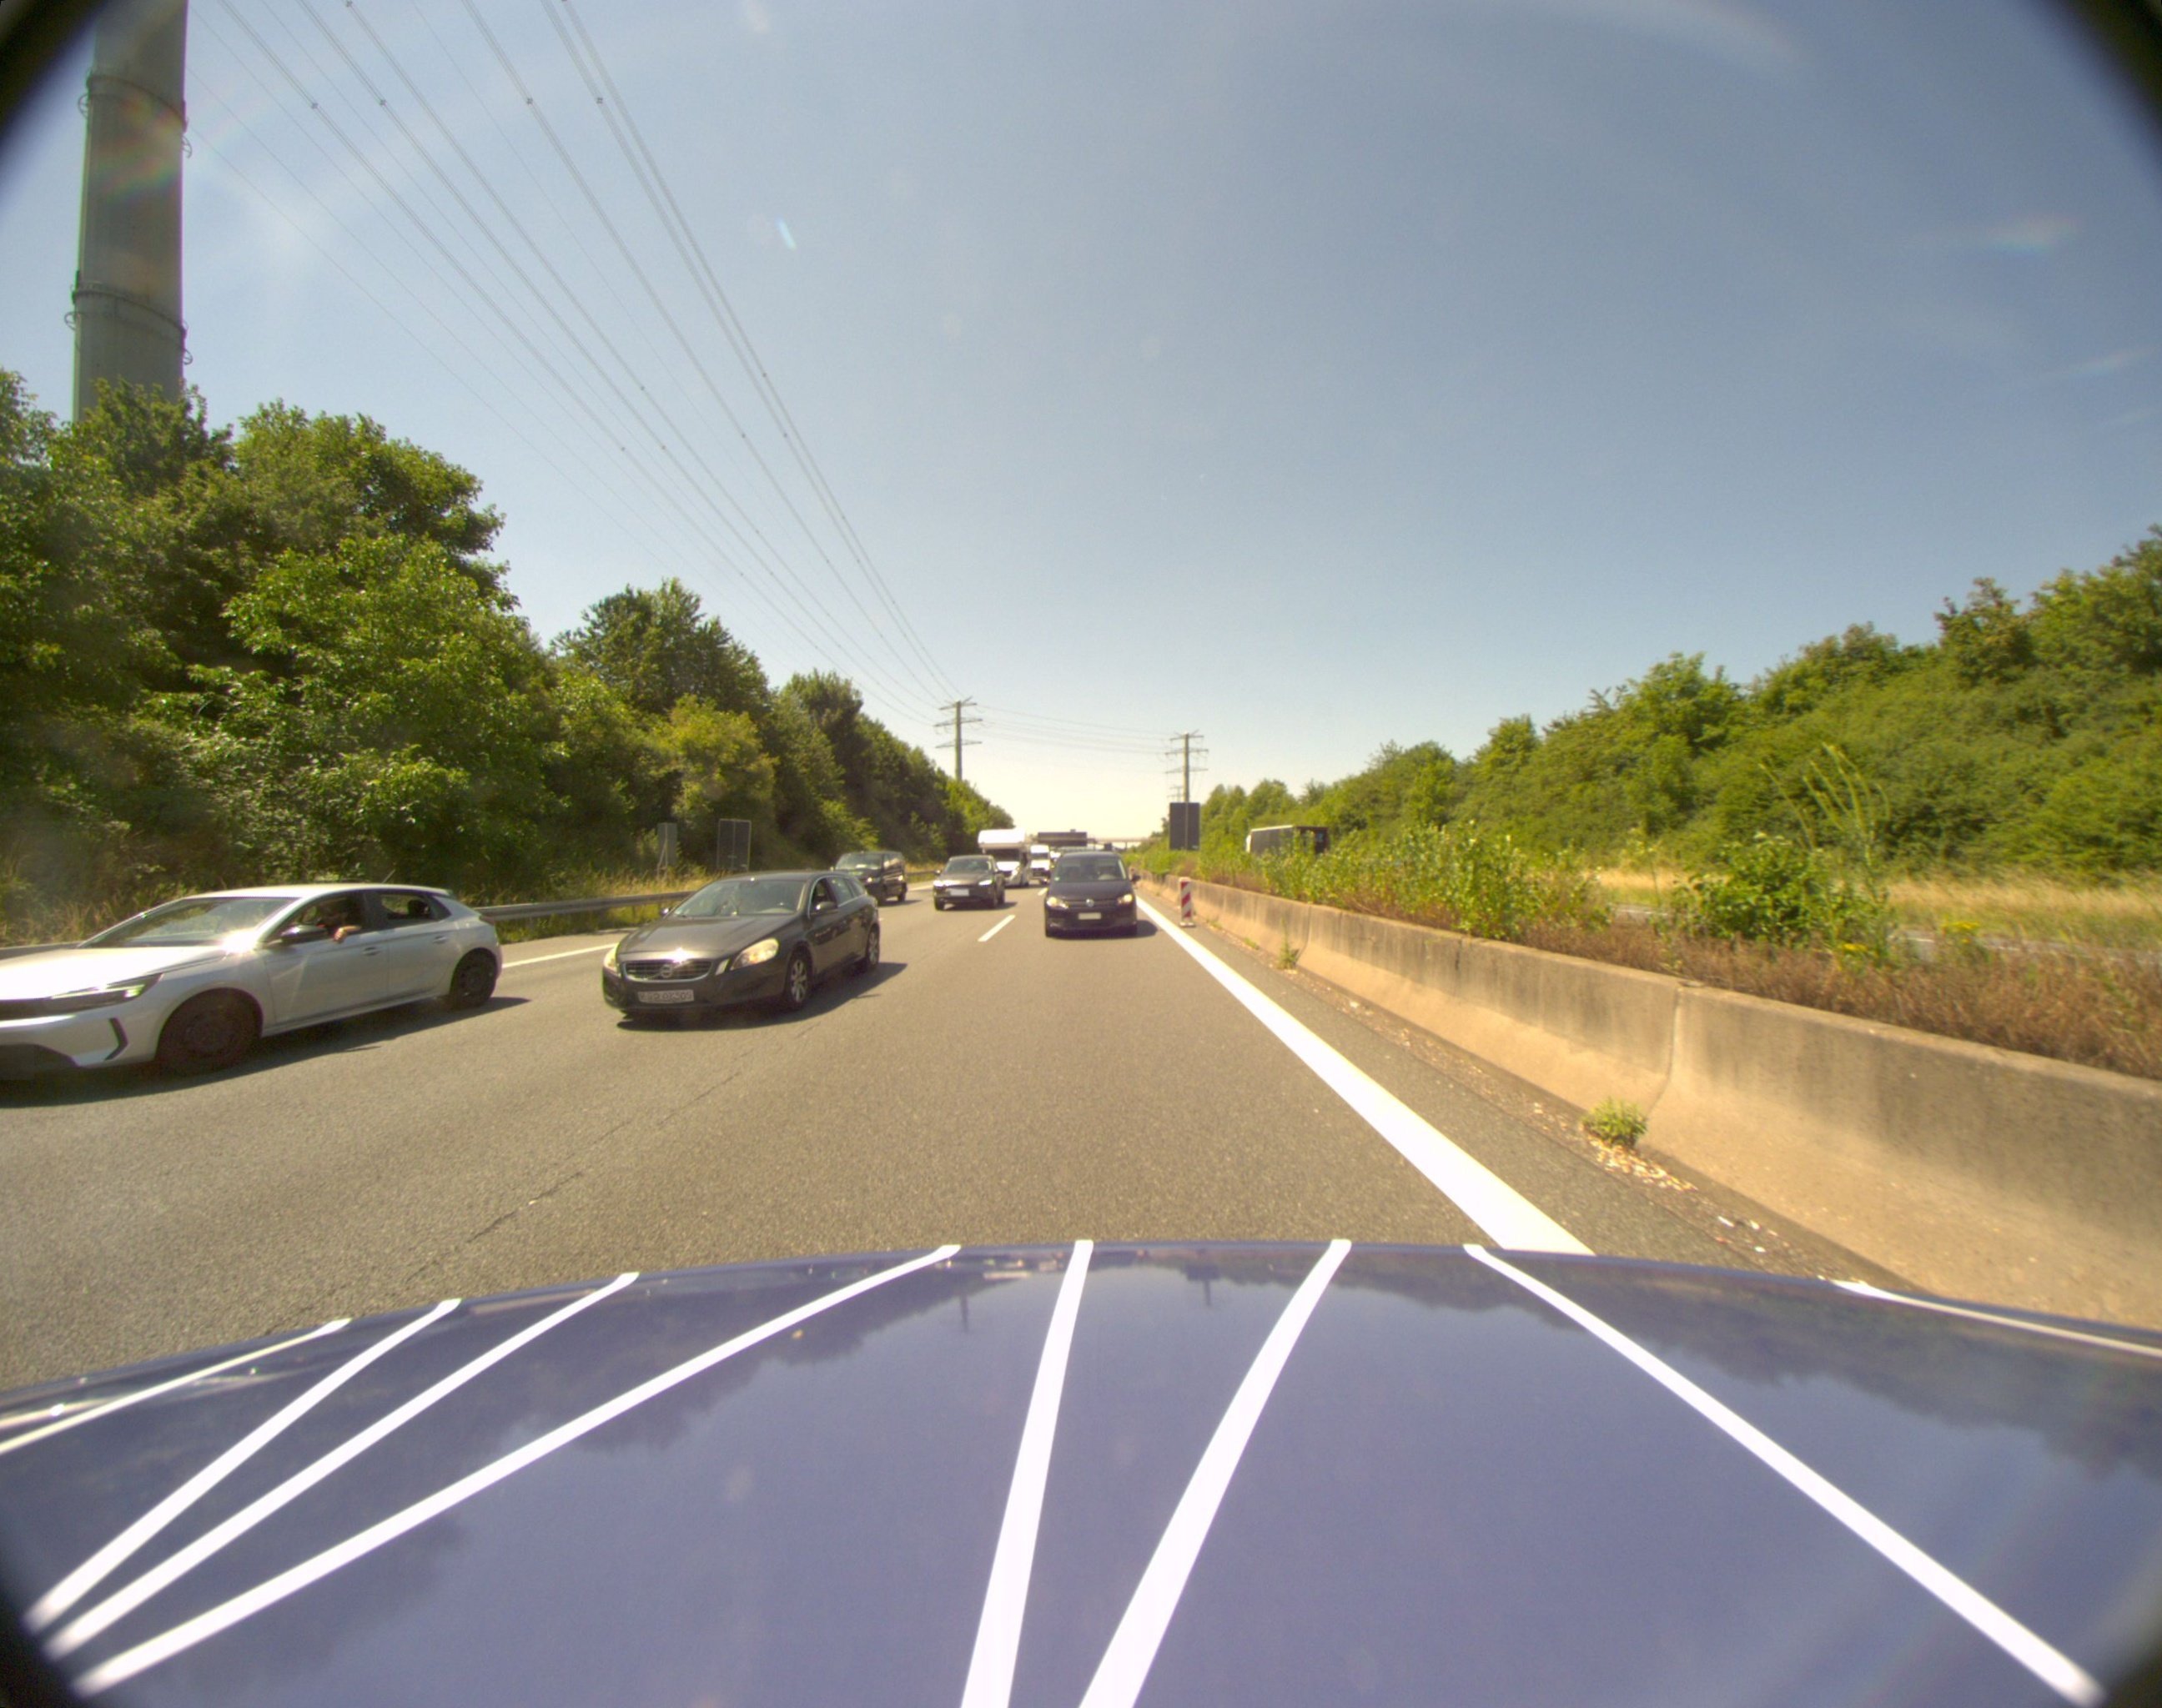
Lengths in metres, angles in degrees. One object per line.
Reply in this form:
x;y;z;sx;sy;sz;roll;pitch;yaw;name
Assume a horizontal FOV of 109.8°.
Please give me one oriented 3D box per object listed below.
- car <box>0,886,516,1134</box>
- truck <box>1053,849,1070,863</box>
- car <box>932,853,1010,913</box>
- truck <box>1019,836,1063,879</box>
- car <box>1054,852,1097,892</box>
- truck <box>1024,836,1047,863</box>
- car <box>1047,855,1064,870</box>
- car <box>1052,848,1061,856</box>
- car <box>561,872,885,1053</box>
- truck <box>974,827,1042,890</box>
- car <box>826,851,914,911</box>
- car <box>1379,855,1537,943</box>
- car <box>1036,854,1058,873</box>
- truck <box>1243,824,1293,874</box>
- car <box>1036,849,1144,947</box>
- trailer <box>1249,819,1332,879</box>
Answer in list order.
-7.654;1.142;7.049;1.745;1.461;4.014;-2;0;1;car
-3.136;0.327;126.588;2.408;2.203;6.744;-2;0;2;truck
-3.449;0.844;24.593;1.892;1.693;4.382;-2;0;-1;car
-2.971;0.225;59.266;2.514;2.997;9.897;-2;0;1;truck
-0.281;0.794;36.198;1.892;1.693;4.382;-2;0;-1;car
-7.151;-0.746;121.727;2.655;4.128;11.660;-2;0;1;truck
-3.152;1.031;94.239;1.892;1.693;4.382;-2;0;-1;car
-6.551;-0.549;202.029;1.998;2.002;4.000;-2;1;1;car
-3.748;1.024;8.929;1.800;1.429;4.230;-2;0;-1;car
-3.879;0.187;42.670;2.514;2.997;9.897;-2;0;1;truck
-7.562;0.891;27.698;1.788;1.893;4.698;-2;0;0;car
8.186;0.883;16.922;1.556;1.644;3.870;2;1;0;car
-3.138;0.874;71.447;1.892;1.693;4.382;-2;0;-1;car
16.515;-0.457;67.677;2.758;4.143;6.410;2;1;0;truck
0.129;0.770;15.826;1.892;1.693;4.382;-2;0;-1;car
16.464;-0.405;61.204;2.760;4.143;14.196;2;0;0;trailer
